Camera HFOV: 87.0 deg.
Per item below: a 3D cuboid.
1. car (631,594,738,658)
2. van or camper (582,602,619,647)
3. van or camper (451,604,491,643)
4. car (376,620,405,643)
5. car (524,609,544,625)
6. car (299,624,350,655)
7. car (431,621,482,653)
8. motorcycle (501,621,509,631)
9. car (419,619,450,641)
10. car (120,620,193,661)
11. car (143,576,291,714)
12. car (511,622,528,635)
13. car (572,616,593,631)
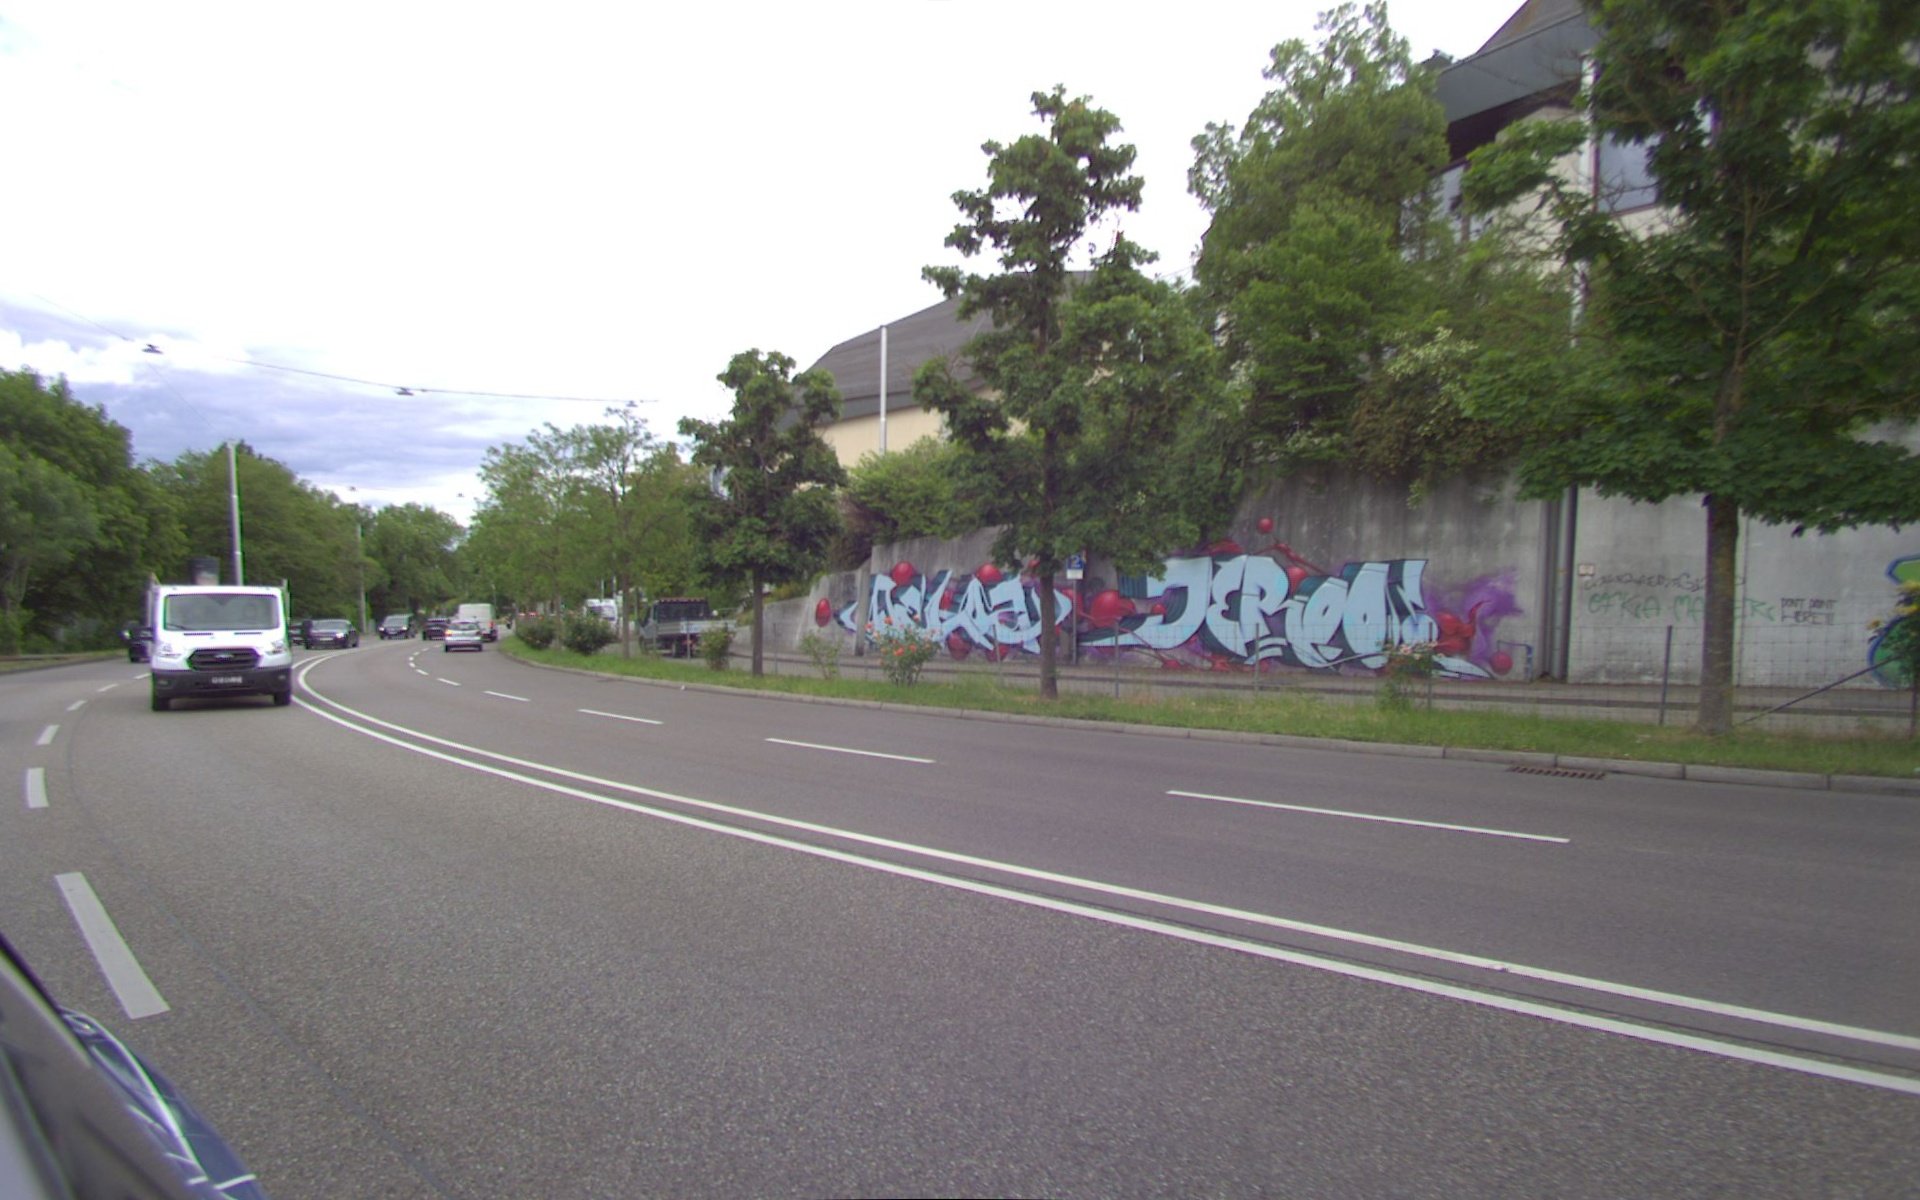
[{"bbox_3d":[-10.904,0.994,39.696,2.237,2.290,6.344,0,-1,-33],"label":"car"},{"bbox_3d":[-21.244,1.422,59.830,1.965,2.491,5.728,0,-1,-19],"label":"van or camper"},{"bbox_3d":[-30.522,1.466,63.050,1.980,2.278,5.980,0,-1,-28],"label":"van or camper"},{"bbox_3d":[-40.611,2.210,72.122,1.701,1.489,4.012,-2,0,-30],"label":"car"},{"bbox_3d":[-44.978,1.828,106.918,1.760,1.587,4.482,1,-1,-20],"label":"car"},{"bbox_3d":[-32.427,1.973,51.725,1.708,1.422,4.013,-2,0,-26],"label":"car"},{"bbox_3d":[-23.949,1.739,48.063,1.679,1.419,3.819,0,-1,-34],"label":"car"},{"bbox_3d":[-48.769,2.762,108.538,0.476,1.064,2.275,0,-1,-18],"label":"motorcycle"},{"bbox_3d":[-35.404,2.029,68.256,1.711,1.425,4.443,1,-2,-26],"label":"car"},{"bbox_3d":[-29.966,1.478,37.833,1.706,1.421,4.011,-1,-1,-33],"label":"car"},{"bbox_3d":[-14.188,0.791,19.161,1.968,2.190,6.280,0,-1,-39],"label":"car"},{"bbox_3d":[-54.272,3.490,124.605,1.760,1.550,4.089,0,-1,-21],"label":"car"},{"bbox_3d":[-37.083,2.300,99.409,1.649,1.439,4.432,2,-2,-23],"label":"car"}]
